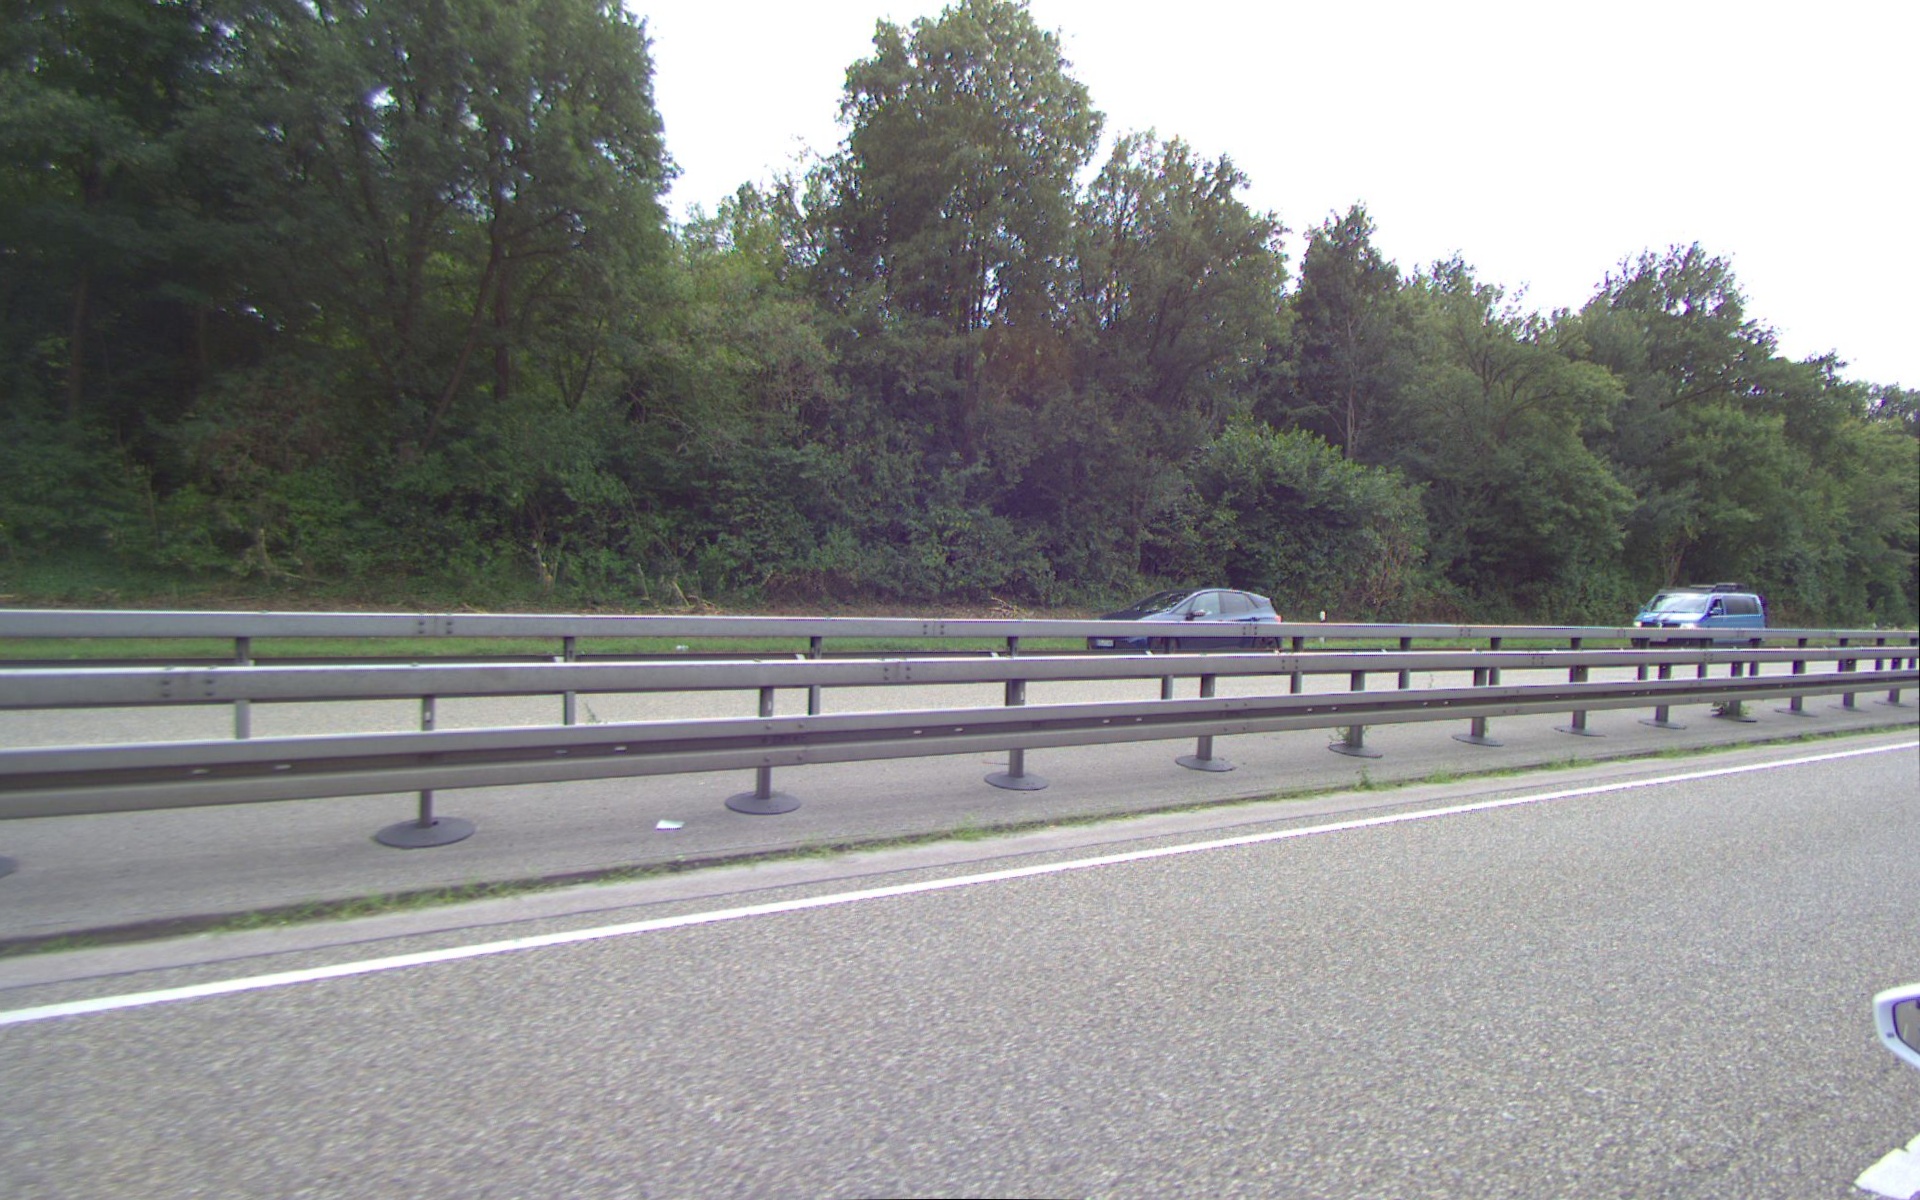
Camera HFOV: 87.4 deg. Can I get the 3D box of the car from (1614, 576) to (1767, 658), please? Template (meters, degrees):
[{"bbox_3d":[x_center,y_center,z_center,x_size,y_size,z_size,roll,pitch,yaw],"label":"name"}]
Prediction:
[{"bbox_3d":[22.600,0.535,31.013,5.244,2.352,1.926,1,-1,-31],"label":"car"}]

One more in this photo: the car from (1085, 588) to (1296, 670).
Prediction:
[{"bbox_3d":[4.617,0.570,19.984,4.042,1.486,1.686,2,-1,-31],"label":"car"}]
